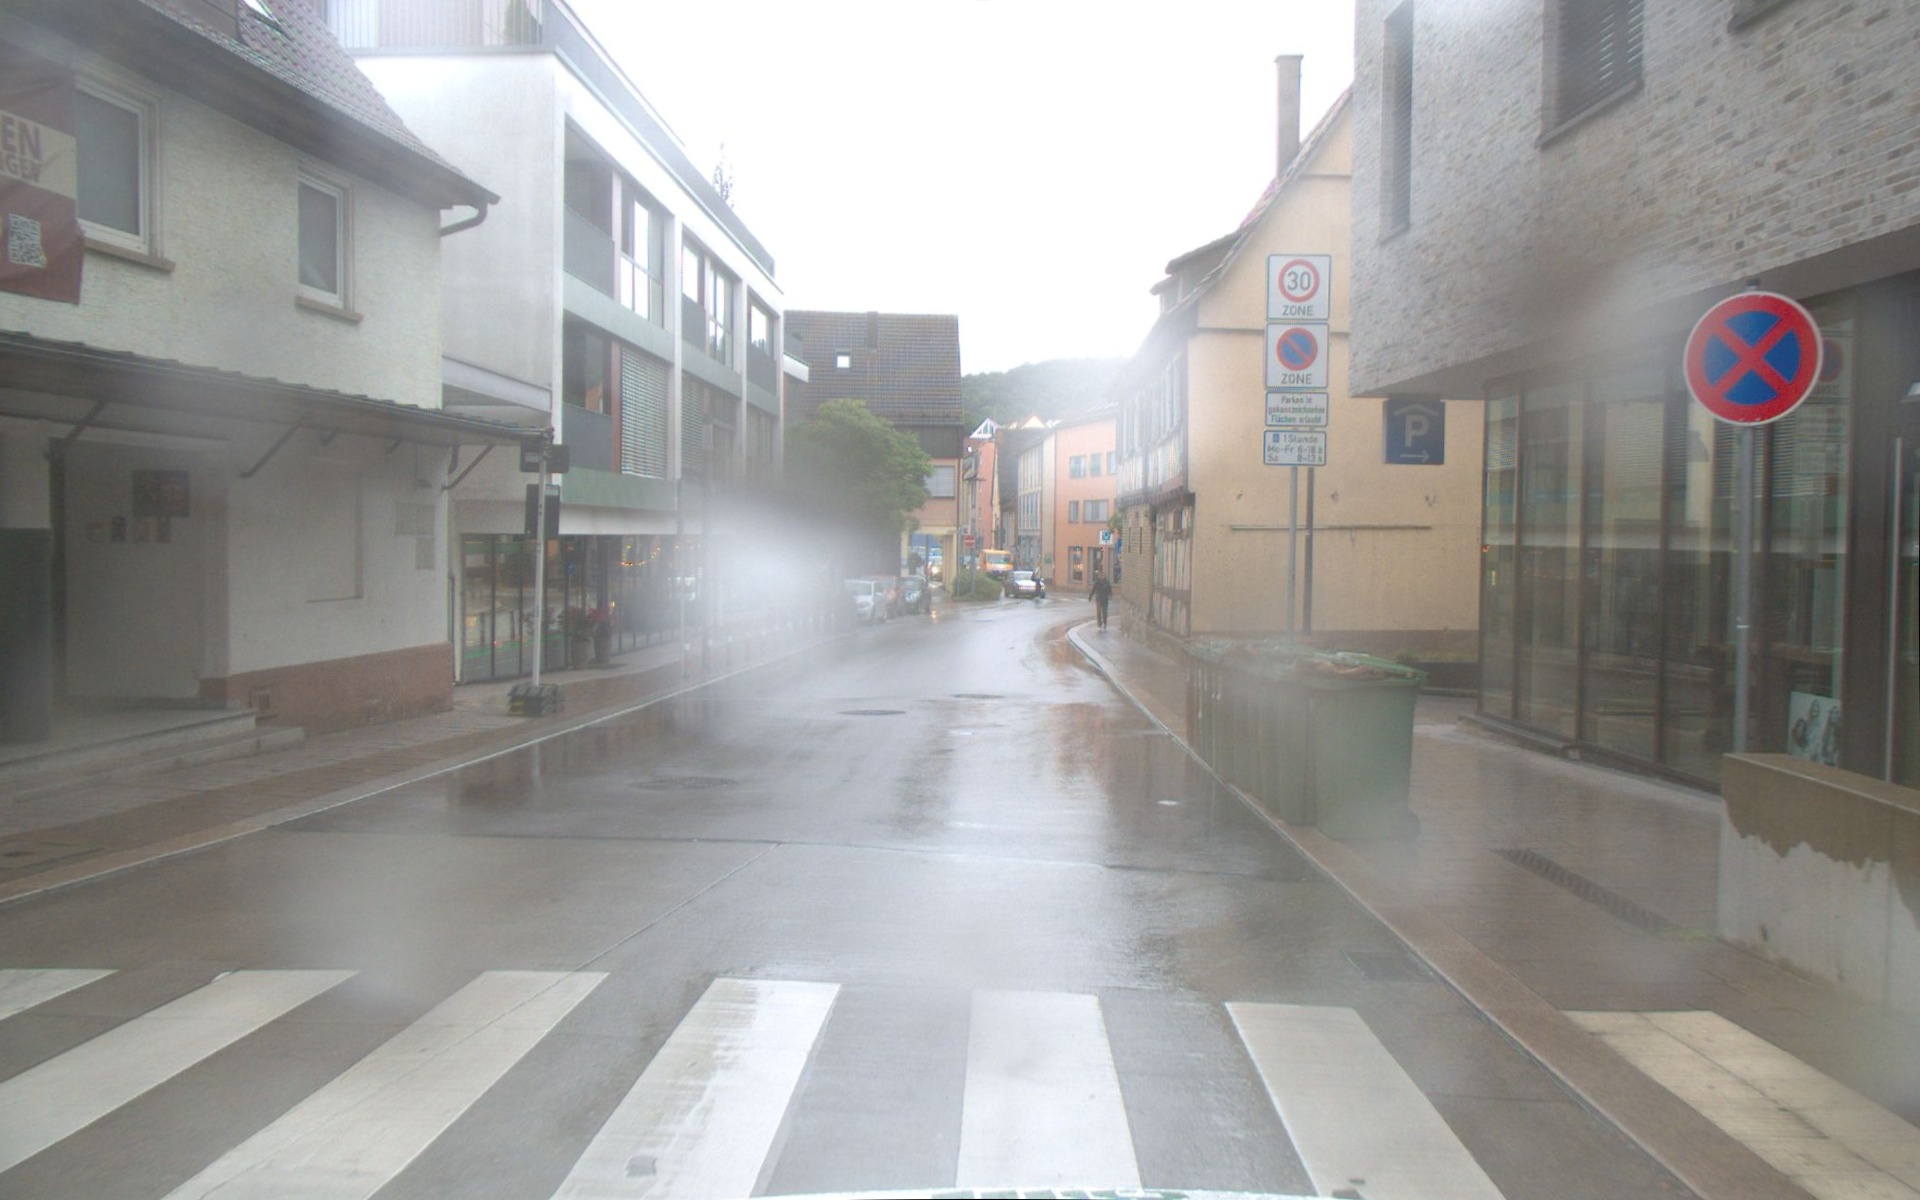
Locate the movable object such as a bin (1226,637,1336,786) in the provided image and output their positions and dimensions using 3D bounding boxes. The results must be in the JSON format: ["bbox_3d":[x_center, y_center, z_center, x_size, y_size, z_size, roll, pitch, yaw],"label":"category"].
[{"bbox_3d":[2.511,0.865,12.979,0.750,1.114,0.581,-1,0,1],"label":"movable object such as a bin"}]

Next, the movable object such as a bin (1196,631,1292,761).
[{"bbox_3d":[2.529,0.850,14.783,0.750,1.114,0.581,-1,0,1],"label":"movable object such as a bin"}]

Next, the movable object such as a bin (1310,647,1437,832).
[{"bbox_3d":[2.609,0.868,10.472,0.649,1.114,0.551,-1,0,-1],"label":"movable object such as a bin"}]

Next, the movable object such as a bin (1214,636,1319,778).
[{"bbox_3d":[2.508,0.865,13.579,0.750,1.114,0.581,-1,0,1],"label":"movable object such as a bin"}]

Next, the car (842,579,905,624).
[{"bbox_3d":[-3.182,0.034,61.721,1.749,1.603,4.110,0,1,6],"label":"car"}]

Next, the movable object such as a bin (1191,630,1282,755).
[{"bbox_3d":[2.567,0.853,15.403,0.750,1.114,0.581,-1,0,1],"label":"movable object such as a bin"}]

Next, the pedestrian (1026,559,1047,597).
[{"bbox_3d":[3.967,-1.131,85.828,0.843,1.948,0.758,1,1,22],"label":"pedestrian"}]

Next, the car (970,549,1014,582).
[{"bbox_3d":[2.217,-2.389,115.526,2.066,2.183,4.855,-2,1,-10],"label":"car"}]

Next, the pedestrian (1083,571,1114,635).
[{"bbox_3d":[4.172,0.082,49.904,0.793,1.918,0.907,-1,1,-1],"label":"pedestrian"}]

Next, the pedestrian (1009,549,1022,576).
[{"bbox_3d":[4.296,-2.907,127.518,0.850,2.048,0.707,0,1,-7],"label":"pedestrian"}]

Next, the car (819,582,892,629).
[{"bbox_3d":[-3.486,0.161,55.889,1.749,1.525,4.458,0,1,6],"label":"car"}]

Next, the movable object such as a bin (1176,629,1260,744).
[{"bbox_3d":[2.583,0.859,16.596,0.750,1.114,0.581,-1,0,1],"label":"movable object such as a bin"}]

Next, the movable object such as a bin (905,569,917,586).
[{"bbox_3d":[-3.970,-1.836,133.638,0.818,1.406,0.852,0,1,-9],"label":"movable object such as a bin"}]

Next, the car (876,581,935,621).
[{"bbox_3d":[-2.168,0.011,66.666,1.678,1.483,3.914,2,1,8],"label":"car"}]

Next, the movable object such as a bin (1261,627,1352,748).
[{"bbox_3d":[3.330,0.834,15.931,0.750,1.114,0.627,-1,0,1],"label":"movable object such as a bin"}]

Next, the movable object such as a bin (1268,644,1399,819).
[{"bbox_3d":[2.502,0.869,11.145,0.725,1.114,0.657,-1,0,0],"label":"movable object such as a bin"}]

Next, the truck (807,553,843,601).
[{"bbox_3d":[-6.676,-1.169,82.119,1.564,2.097,3.194,-1,5,-2],"label":"truck"}]

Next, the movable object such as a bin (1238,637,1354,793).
[{"bbox_3d":[2.508,0.847,12.392,0.750,1.114,0.581,-1,0,1],"label":"movable object such as a bin"}]

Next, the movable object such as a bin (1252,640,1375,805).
[{"bbox_3d":[2.512,0.859,11.788,0.750,1.114,0.581,-1,0,1],"label":"movable object such as a bin"}]

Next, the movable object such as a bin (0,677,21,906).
[{"bbox_3d":[-4.946,0.913,7.689,0.673,1.100,0.760,3,0,-1],"label":"movable object such as a bin"}]

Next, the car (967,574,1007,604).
[{"bbox_3d":[1.447,-0.618,89.675,1.682,1.483,3.905,1,1,-6],"label":"car"}]

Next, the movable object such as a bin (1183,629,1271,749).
[{"bbox_3d":[2.575,0.853,15.996,0.750,1.114,0.581,-1,0,1],"label":"movable object such as a bin"}]

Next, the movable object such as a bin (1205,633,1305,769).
[{"bbox_3d":[2.524,0.853,14.189,0.750,1.114,0.581,-1,0,1],"label":"movable object such as a bin"}]

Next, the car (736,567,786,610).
[{"bbox_3d":[-9.743,-0.581,81.134,1.774,1.644,4.006,1,7,3],"label":"car"}]
